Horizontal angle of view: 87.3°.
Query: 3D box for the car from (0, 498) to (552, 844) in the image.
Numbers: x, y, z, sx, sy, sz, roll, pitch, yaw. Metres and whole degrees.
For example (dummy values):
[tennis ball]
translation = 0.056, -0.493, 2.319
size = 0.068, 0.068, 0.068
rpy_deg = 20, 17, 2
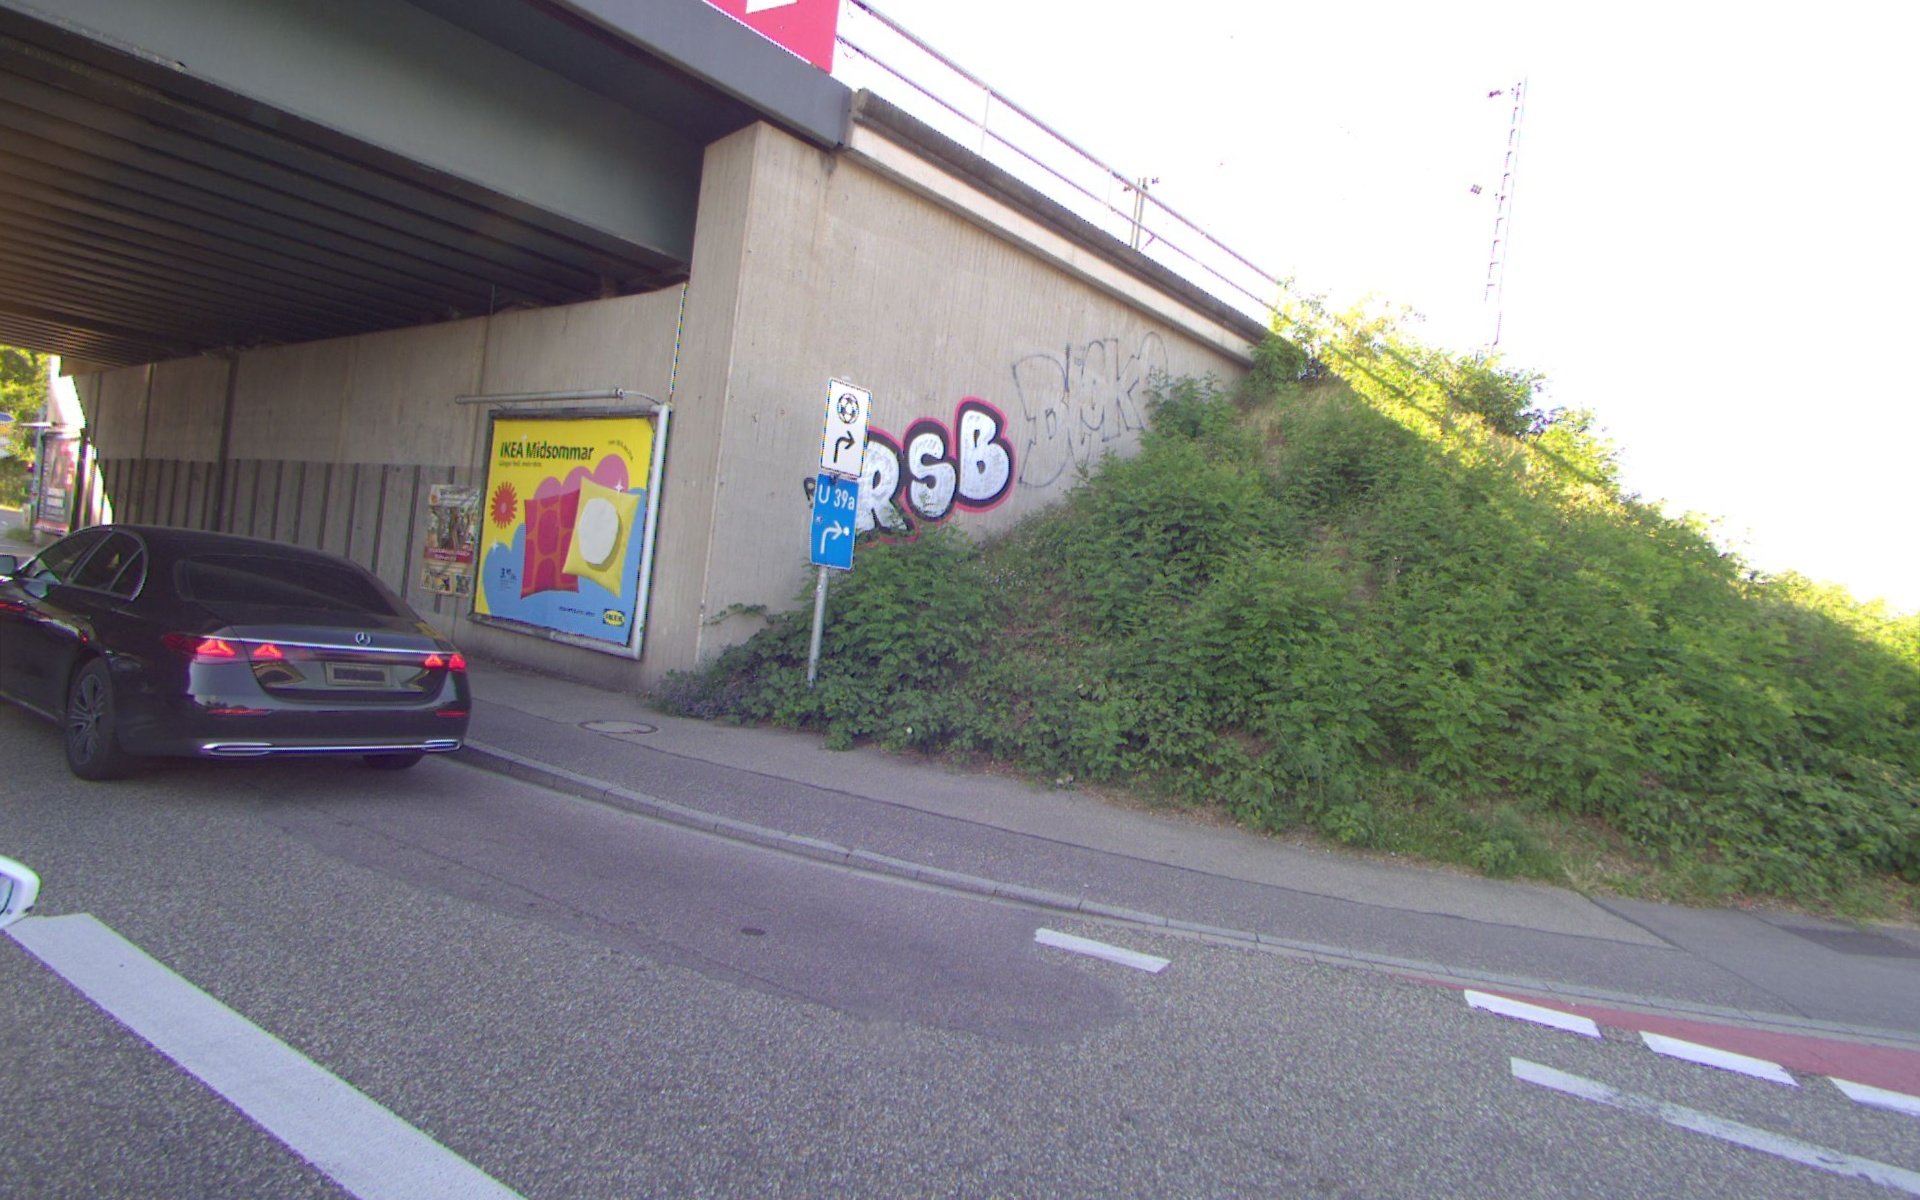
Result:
[car]
translation = -4.982, 0.269, 6.746
size = 4.530, 1.472, 1.743
rpy_deg = 7, -1, 33
